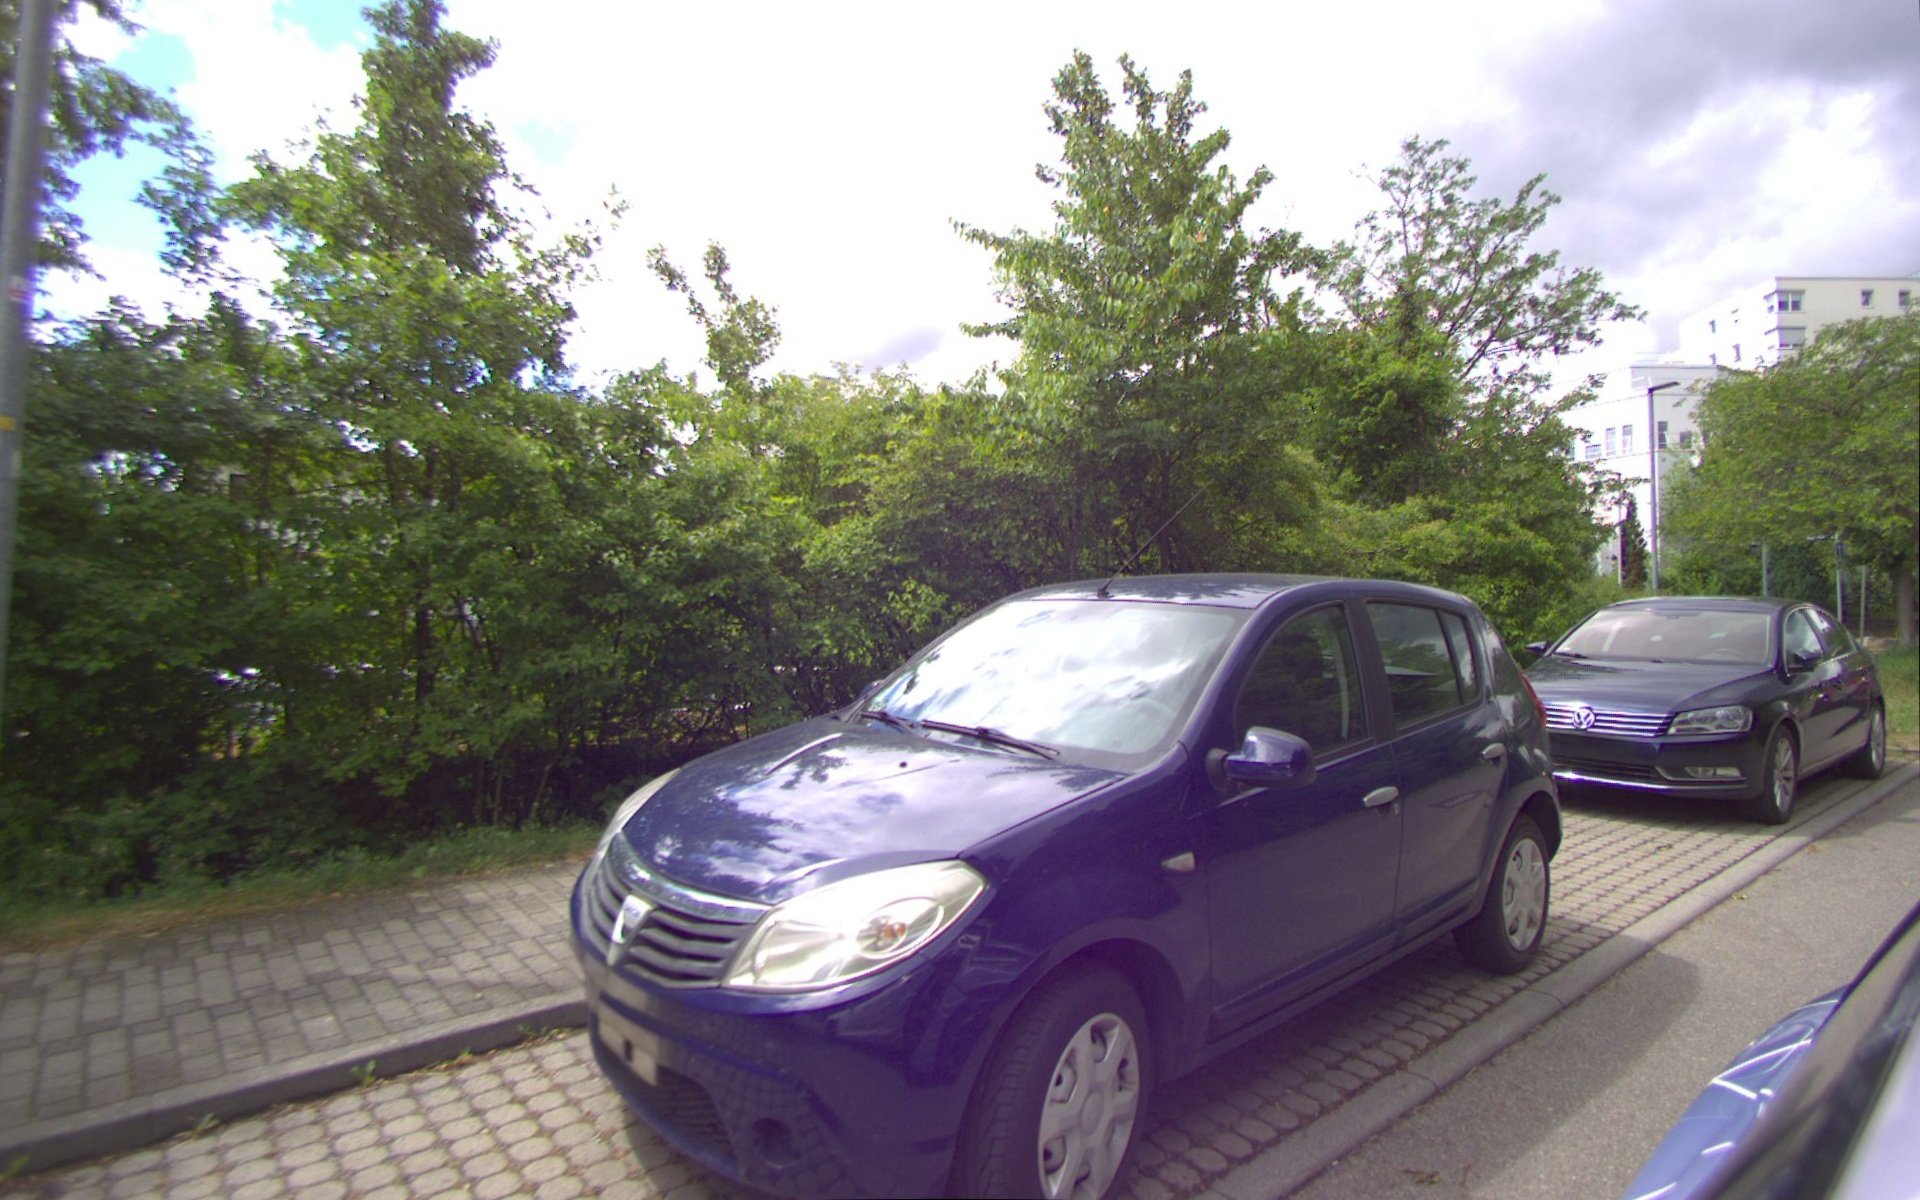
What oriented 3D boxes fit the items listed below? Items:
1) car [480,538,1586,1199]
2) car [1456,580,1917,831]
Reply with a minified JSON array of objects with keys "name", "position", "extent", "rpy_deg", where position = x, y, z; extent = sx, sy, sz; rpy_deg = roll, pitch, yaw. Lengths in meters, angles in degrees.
[{"name":"car","position":[0.606,0.620,3.557],"extent":[3.823,1.538,1.731],"rpy_deg":[-1,1,-42]},{"name":"car","position":[5.787,0.600,7.871],"extent":[4.254,1.452,1.781],"rpy_deg":[0,0,-38]}]
